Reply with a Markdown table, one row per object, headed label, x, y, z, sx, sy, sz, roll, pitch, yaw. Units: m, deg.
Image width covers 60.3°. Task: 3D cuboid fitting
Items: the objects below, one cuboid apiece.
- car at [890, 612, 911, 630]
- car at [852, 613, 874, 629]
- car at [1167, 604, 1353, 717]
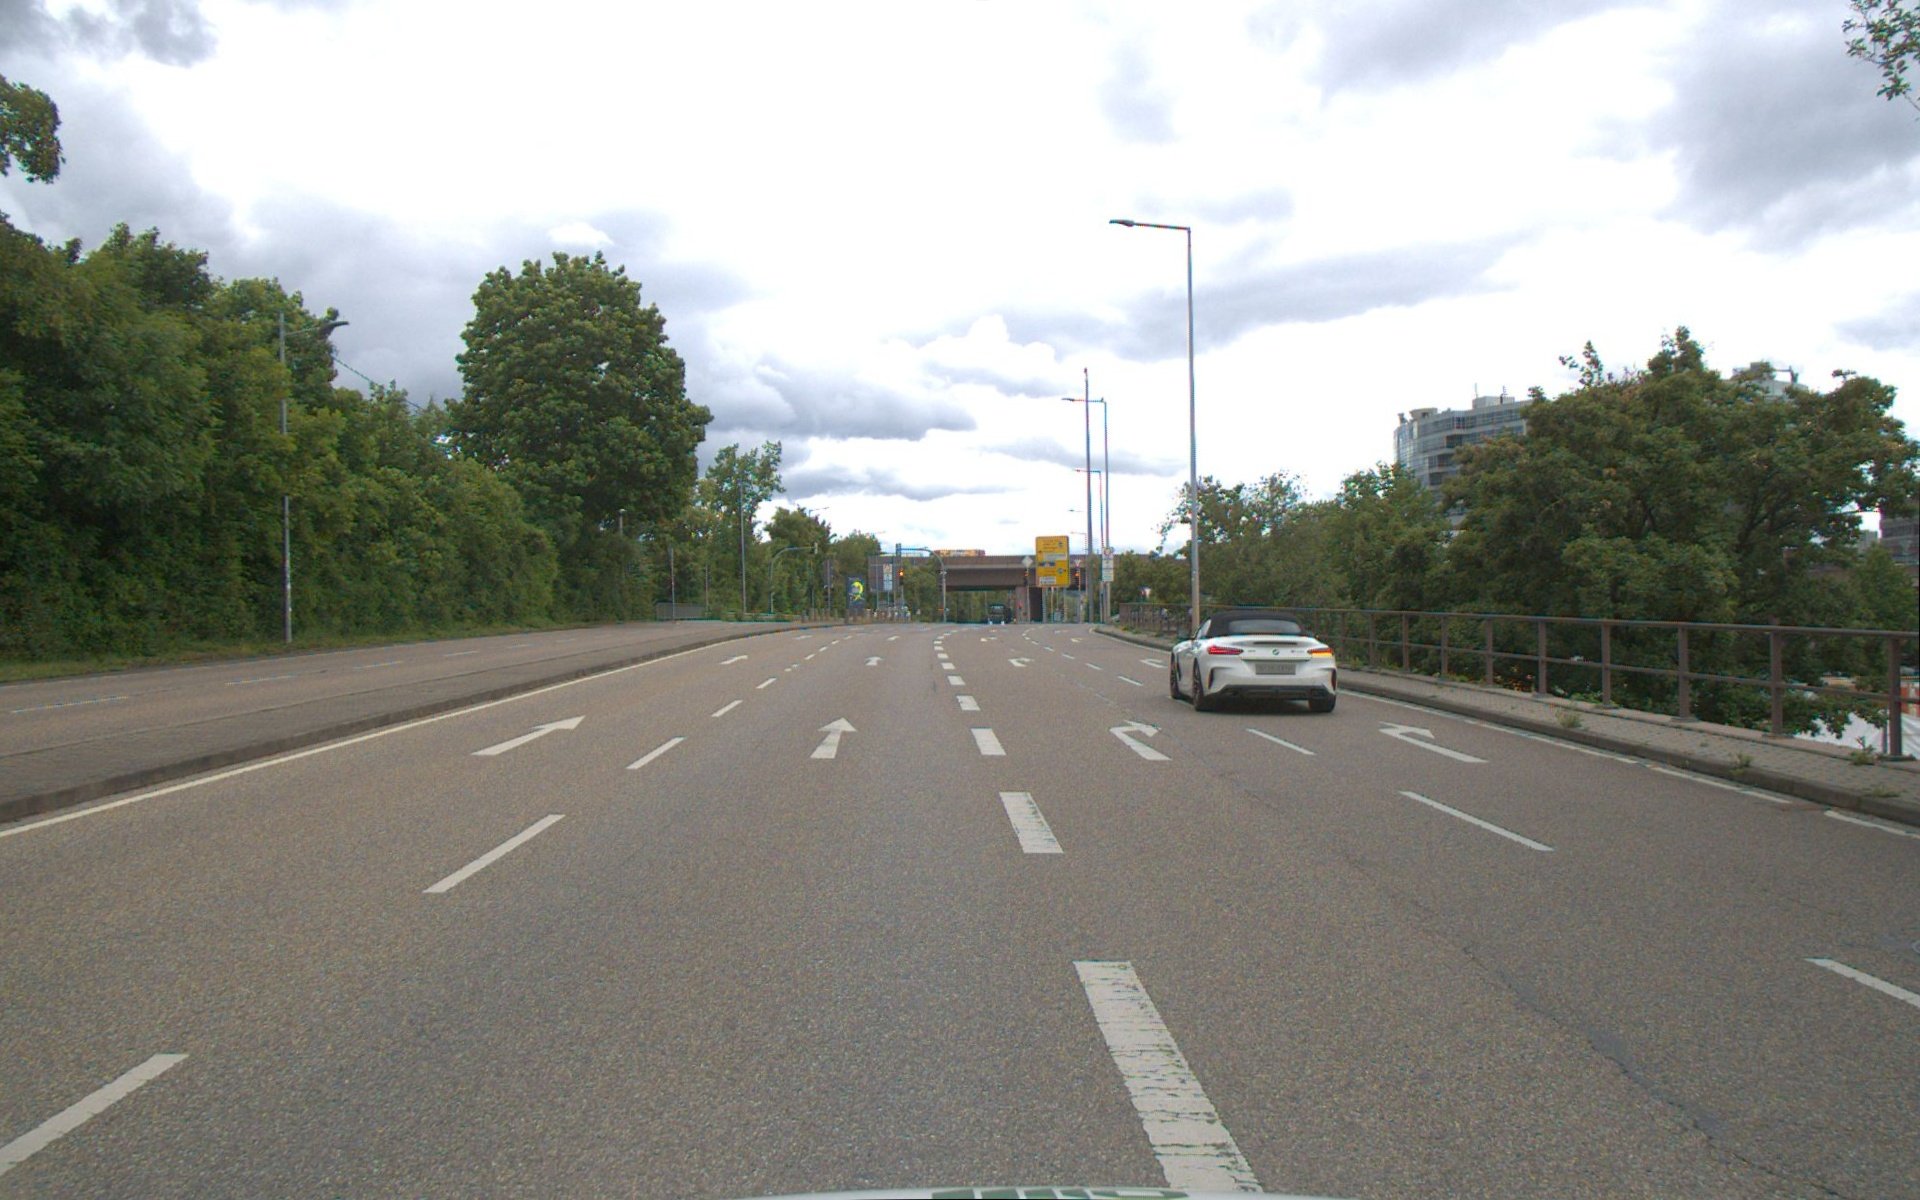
| label | x | y | z | sx | sy | sz | roll | pitch | yaw |
| --- | --- | --- | --- | --- | --- | --- | --- | --- | --- |
| car | -5.518 | 1.939 | 154.050 | 1.735 | 1.661 | 3.825 | 1 | -1 | 2 |
| car | -9.464 | 2.081 | 161.340 | 1.724 | 1.510 | 3.485 | 1 | -1 | 2 |
| car | 4.041 | 0.771 | 22.856 | 1.836 | 1.332 | 3.873 | 2 | 0 | 0 |
